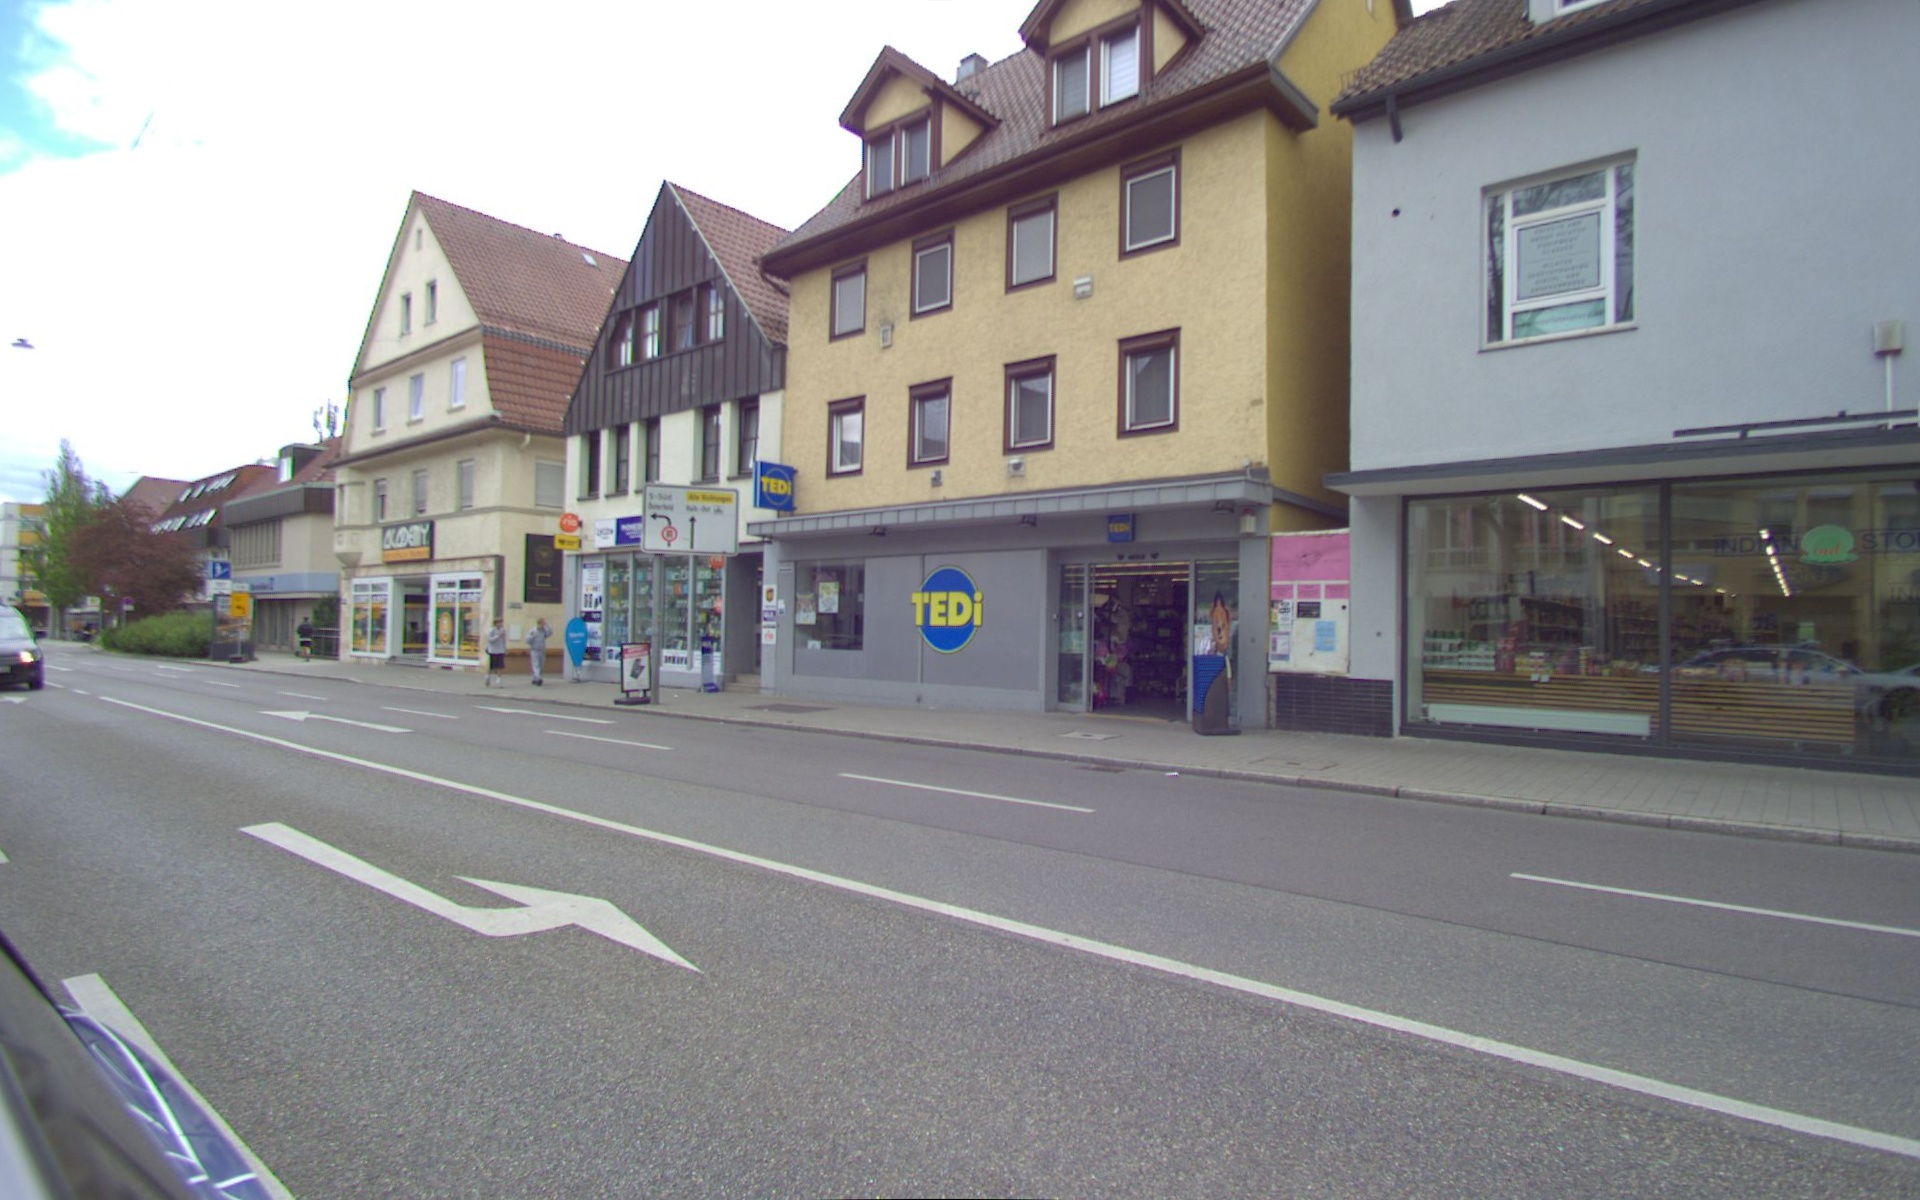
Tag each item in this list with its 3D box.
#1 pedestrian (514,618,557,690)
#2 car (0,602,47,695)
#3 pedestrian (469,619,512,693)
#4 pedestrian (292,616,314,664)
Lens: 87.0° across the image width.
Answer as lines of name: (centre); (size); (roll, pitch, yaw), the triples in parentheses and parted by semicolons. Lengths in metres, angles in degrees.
pedestrian: (-10.294, 1.299, 24.539); (0.709, 1.683, 0.680); (-1, 0, 41)
car: (-21.294, 1.022, 21.960); (4.632, 1.869, 1.726); (-1, -1, 42)
pedestrian: (-11.188, 1.319, 24.123); (0.742, 1.703, 0.680); (-1, -1, 41)
pedestrian: (-26.286, 1.601, 40.474); (0.592, 1.903, 0.544); (-1, -1, 37)
